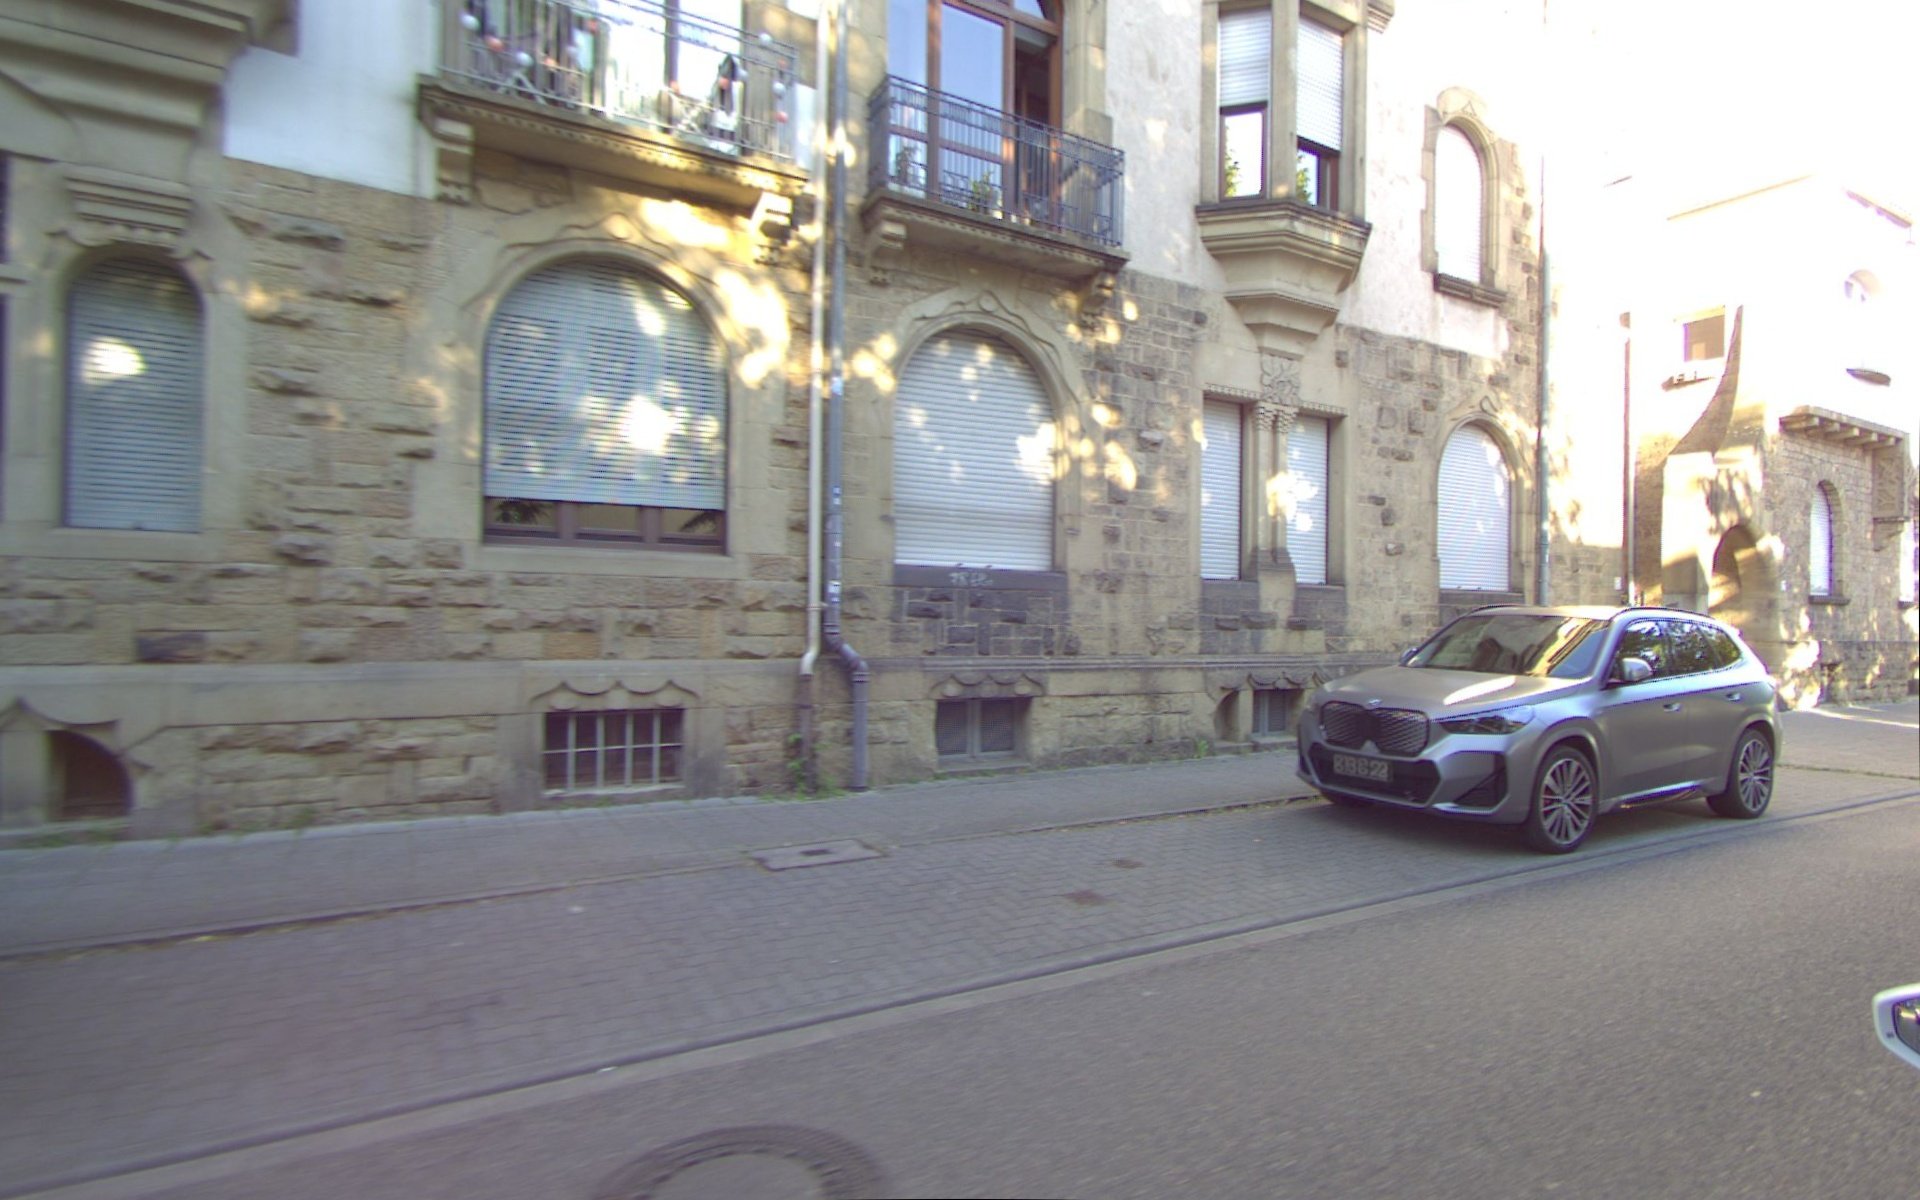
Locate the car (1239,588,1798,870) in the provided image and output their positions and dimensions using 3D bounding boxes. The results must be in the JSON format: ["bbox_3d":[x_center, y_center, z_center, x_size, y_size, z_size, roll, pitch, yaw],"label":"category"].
[{"bbox_3d":[4.482,0.848,7.896,4.348,1.643,2.038,3,-2,-33],"label":"car"}]
